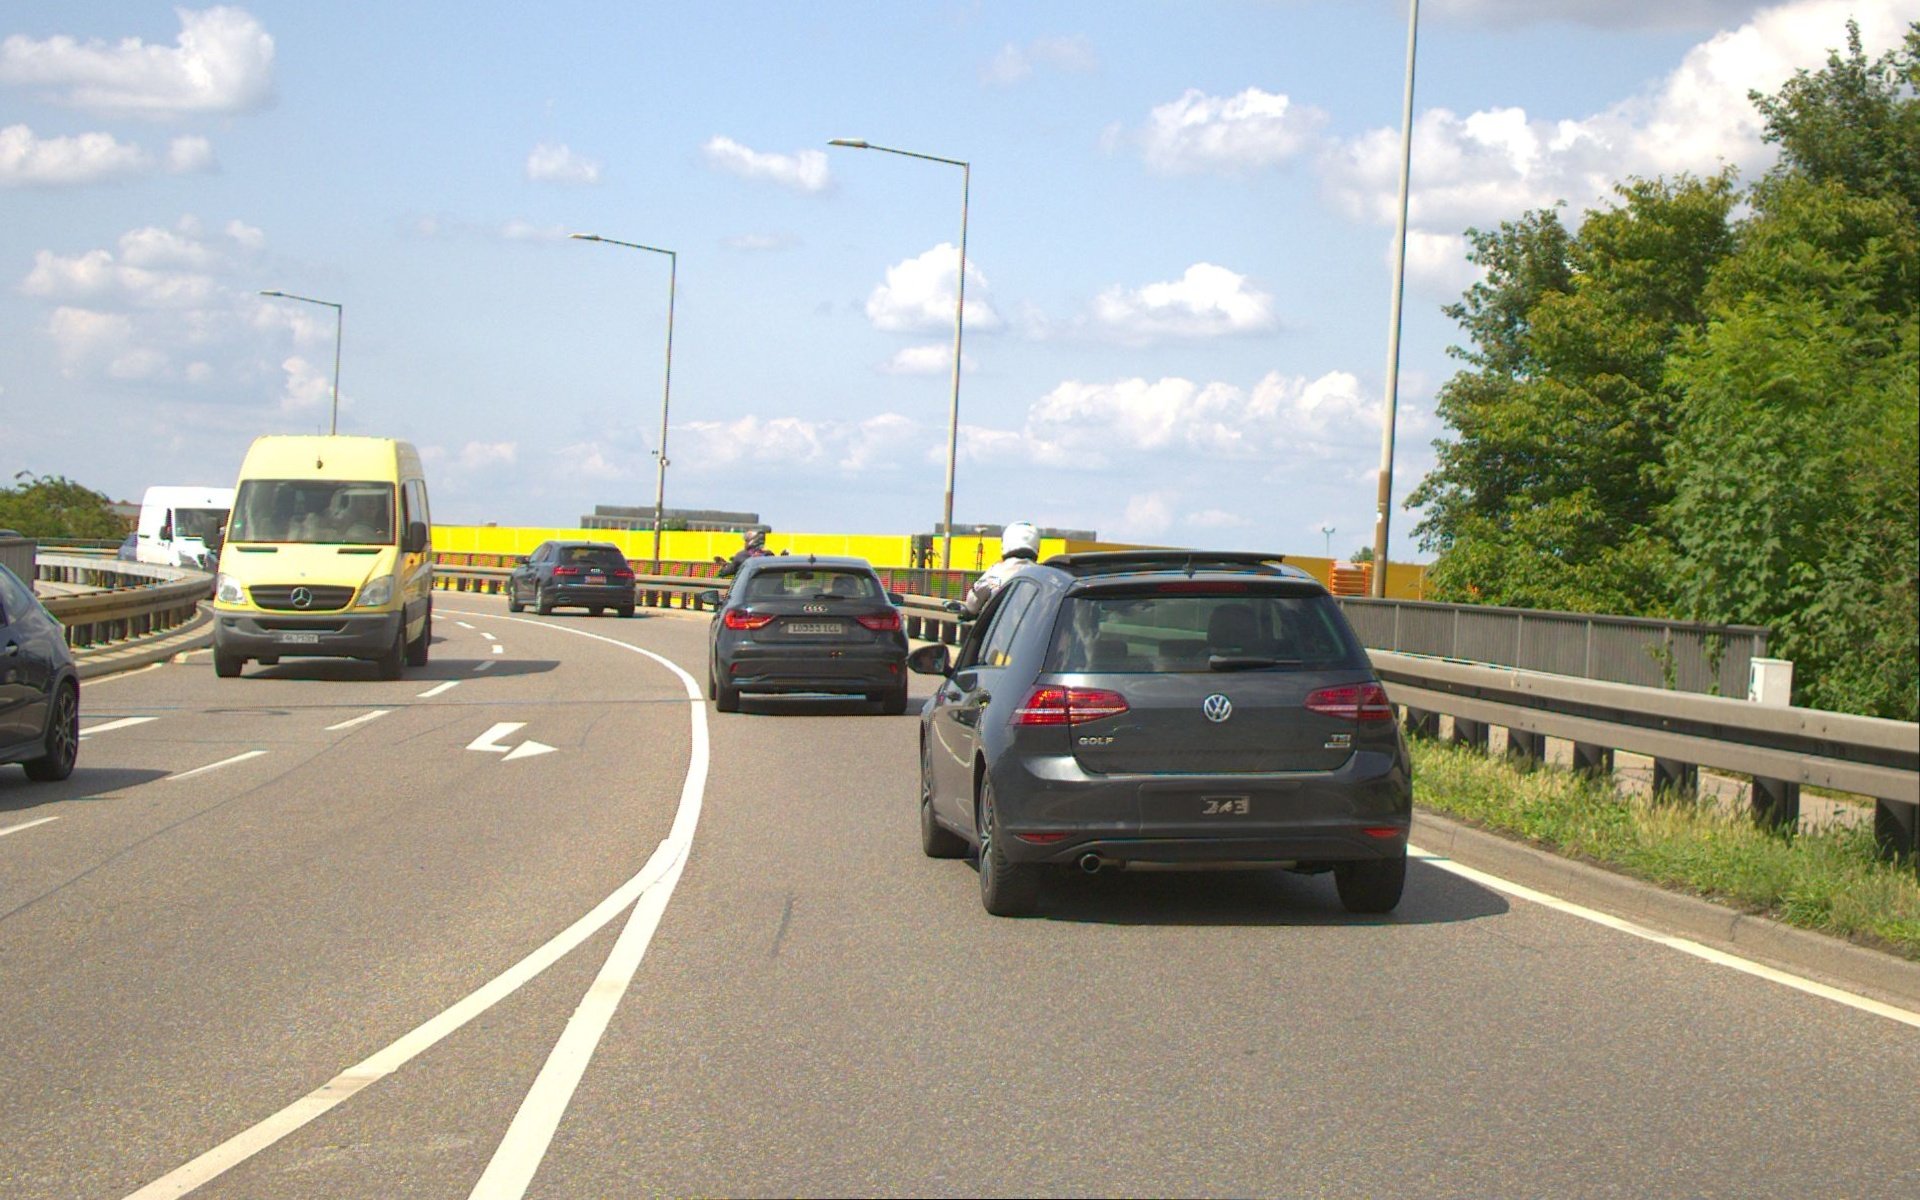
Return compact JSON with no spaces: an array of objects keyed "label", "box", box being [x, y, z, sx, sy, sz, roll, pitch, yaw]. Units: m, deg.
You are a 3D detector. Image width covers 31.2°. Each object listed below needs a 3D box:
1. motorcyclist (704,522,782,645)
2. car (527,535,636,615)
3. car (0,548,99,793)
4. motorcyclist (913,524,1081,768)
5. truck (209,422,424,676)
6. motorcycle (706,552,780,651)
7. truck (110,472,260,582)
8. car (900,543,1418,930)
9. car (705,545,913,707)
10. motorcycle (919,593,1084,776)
[{"label":"motorcyclist","box":[-2.901,-0.230,45.869,0.966,1.590,1.125,2,1,-4]},{"label":"car","box":[-7.413,-0.503,67.097,1.642,1.474,3.873,2,0,-13]},{"label":"car","box":[-6.371,0.396,19.721,1.798,1.384,4.006,1,1,1]},{"label":"motorcyclist","box":[0.241,0.301,23.714,0.965,1.615,1.125,2,1,-7]},{"label":"truck","box":[-7.096,-0.598,38.459,1.993,2.612,6.105,0,1,-7]},{"label":"motorcycle","box":[-2.907,0.006,45.846,0.887,1.243,2.400,2,1,-5]},{"label":"truck","box":[-18.525,-1.757,81.973,1.993,2.499,5.949,0,1,-28]},{"label":"car","box":[0.749,0.517,15.324,1.642,1.474,3.873,2,0,-6]},{"label":"car","box":[-1.443,0.225,31.586,1.681,1.383,3.740,1,0,-6]},{"label":"motorcycle","box":[0.254,0.548,23.495,0.789,1.128,2.400,2,1,-7]}]
